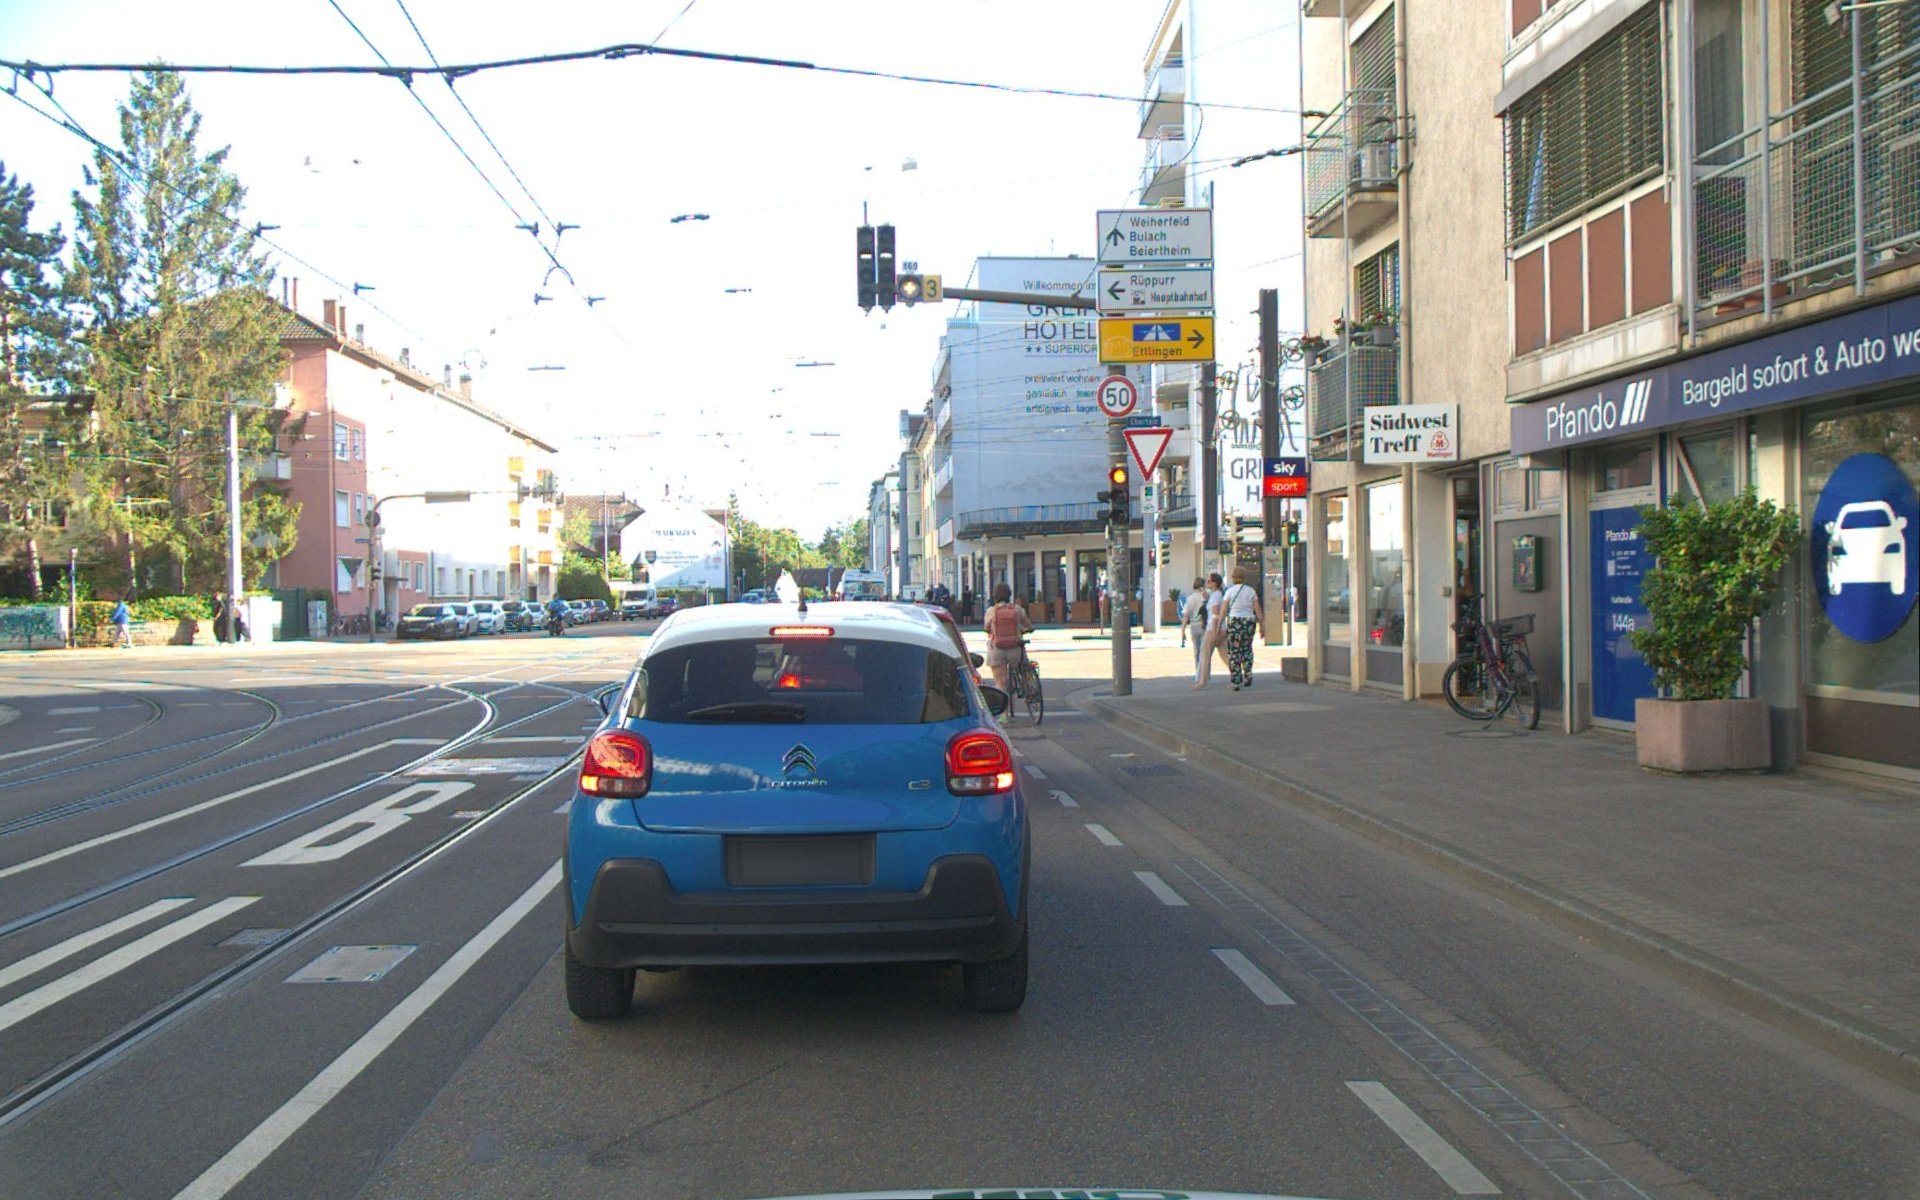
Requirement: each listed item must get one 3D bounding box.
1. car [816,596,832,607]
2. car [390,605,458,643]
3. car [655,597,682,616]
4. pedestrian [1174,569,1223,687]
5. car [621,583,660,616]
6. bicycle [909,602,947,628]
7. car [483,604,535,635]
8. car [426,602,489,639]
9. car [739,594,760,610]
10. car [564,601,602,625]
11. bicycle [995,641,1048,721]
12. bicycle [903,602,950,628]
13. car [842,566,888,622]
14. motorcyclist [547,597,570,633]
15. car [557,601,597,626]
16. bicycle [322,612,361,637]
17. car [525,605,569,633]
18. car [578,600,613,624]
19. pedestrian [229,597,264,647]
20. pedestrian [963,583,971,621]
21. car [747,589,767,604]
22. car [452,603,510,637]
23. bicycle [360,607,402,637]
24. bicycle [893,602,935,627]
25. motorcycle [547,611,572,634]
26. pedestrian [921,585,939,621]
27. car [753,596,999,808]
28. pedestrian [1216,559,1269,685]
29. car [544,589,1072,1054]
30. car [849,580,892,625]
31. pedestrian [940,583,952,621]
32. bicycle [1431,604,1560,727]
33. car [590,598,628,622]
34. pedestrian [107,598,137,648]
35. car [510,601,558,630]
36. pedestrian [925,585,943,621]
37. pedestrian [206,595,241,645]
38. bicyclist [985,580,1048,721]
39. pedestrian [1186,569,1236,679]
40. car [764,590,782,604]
[{"bbox_3d":[-16.943,0.155,206.230,1.722,1.281,3.826,-1,0,-8],"label":"car"},{"bbox_3d":[-22.142,0.961,68.464,1.874,1.458,3.995,-1,0,-6],"label":"car"},{"bbox_3d":[-25.363,0.577,144.081,1.982,1.552,3.996,-1,0,-5],"label":"car"},{"bbox_3d":[3.549,0.405,24.638,0.530,1.701,0.624,-3,2,-3],"label":"pedestrian"},{"bbox_3d":[-22.937,-0.078,118.941,2.164,2.290,4.672,-1,0,-5],"label":"car"},{"bbox_3d":[-1.253,0.599,65.949,1.473,0.973,0.702,-1,0,1],"label":"bicycle"},{"bbox_3d":[-23.315,0.989,85.578,1.874,1.523,3.996,-1,0,-5],"label":"car"},{"bbox_3d":[-22.500,0.888,74.186,1.874,1.523,3.996,-1,0,-5],"label":"car"},{"bbox_3d":[-21.519,0.167,169.056,1.982,1.552,3.996,-1,0,-5],"label":"car"},{"bbox_3d":[-25.187,0.865,110.663,1.874,1.523,3.996,-1,0,-5],"label":"car"},{"bbox_3d":[0.755,0.985,20.549,0.489,0.879,1.748,-1,0,-3],"label":"bicycle"},{"bbox_3d":[-1.358,0.600,67.007,1.835,0.973,0.702,-1,0,1],"label":"bicycle"},{"bbox_3d":[-4.157,-0.241,72.356,1.954,2.366,3.997,0,0,-4],"label":"car"},{"bbox_3d":[-16.215,0.605,66.852,0.704,1.402,0.911,-1,0,-1],"label":"motorcyclist"},{"bbox_3d":[-24.461,0.855,105.675,1.874,1.523,3.996,-1,0,-5],"label":"car"},{"bbox_3d":[-25.070,0.989,67.065,0.718,0.968,2.596,-1,0,-2],"label":"bicycle"},{"bbox_3d":[-24.260,1.102,97.274,1.874,1.523,3.996,-1,0,-5],"label":"car"},{"bbox_3d":[-25.505,0.819,115.751,1.833,1.601,3.997,-1,0,-4],"label":"car"},{"bbox_3d":[-24.833,0.762,57.591,0.825,1.720,0.738,-1,0,12],"label":"pedestrian"},{"bbox_3d":[0.284,0.080,70.130,0.279,1.583,0.304,-1,0,-10],"label":"pedestrian"},{"bbox_3d":[-22.941,-0.419,187.076,1.982,1.552,3.996,-1,0,-5],"label":"car"},{"bbox_3d":[-22.777,0.919,78.805,1.874,1.523,3.996,-1,0,-5],"label":"car"},{"bbox_3d":[-25.705,0.963,73.449,0.831,1.247,3.302,-1,0,-2],"label":"bicycle"},{"bbox_3d":[-1.892,0.606,68.358,1.684,0.973,0.702,-1,0,1],"label":"bicycle"},{"bbox_3d":[-16.222,0.897,67.007,0.603,0.879,1.670,-1,0,-1],"label":"motorcycle"},{"bbox_3d":[-1.340,0.126,74.301,0.637,1.583,0.490,-1,0,-23],"label":"pedestrian"},{"bbox_3d":[-0.617,0.709,13.608,1.703,1.445,3.999,-1,0,-1],"label":"car"},{"bbox_3d":[3.930,0.301,23.051,0.530,1.701,0.650,-3,0,-3],"label":"pedestrian"},{"bbox_3d":[-0.707,0.704,7.384,1.710,1.488,3.994,0,0,-7],"label":"car"},{"bbox_3d":[-3.660,0.104,67.448,1.698,1.780,3.211,0,0,-4],"label":"car"},{"bbox_3d":[-0.591,0.080,69.802,0.482,1.583,0.383,-1,0,-4],"label":"pedestrian"},{"bbox_3d":[5.100,0.595,15.848,0.519,1.091,1.809,-1,0,-4],"label":"bicycle"},{"bbox_3d":[-25.711,0.731,121.173,1.990,1.647,4.508,-1,0,-3],"label":"car"},{"bbox_3d":[-28.372,0.768,55.976,0.840,1.654,0.509,-1,0,-34],"label":"pedestrian"},{"bbox_3d":[-23.596,0.824,91.712,1.874,1.523,3.996,-1,0,-5],"label":"car"},{"bbox_3d":[-1.136,0.123,72.501,0.637,1.583,0.490,-1,0,-23],"label":"pedestrian"},{"bbox_3d":[-25.766,0.697,57.869,0.825,1.720,0.738,-1,0,12],"label":"pedestrian"},{"bbox_3d":[0.686,0.605,20.274,0.711,1.674,0.790,-1,0,-1],"label":"bicyclist"},{"bbox_3d":[3.622,0.336,23.890,0.530,1.534,0.611,-3,2,-3],"label":"pedestrian"},{"bbox_3d":[-24.326,-0.412,215.114,1.957,1.713,3.990,-1,0,-10],"label":"car"}]
